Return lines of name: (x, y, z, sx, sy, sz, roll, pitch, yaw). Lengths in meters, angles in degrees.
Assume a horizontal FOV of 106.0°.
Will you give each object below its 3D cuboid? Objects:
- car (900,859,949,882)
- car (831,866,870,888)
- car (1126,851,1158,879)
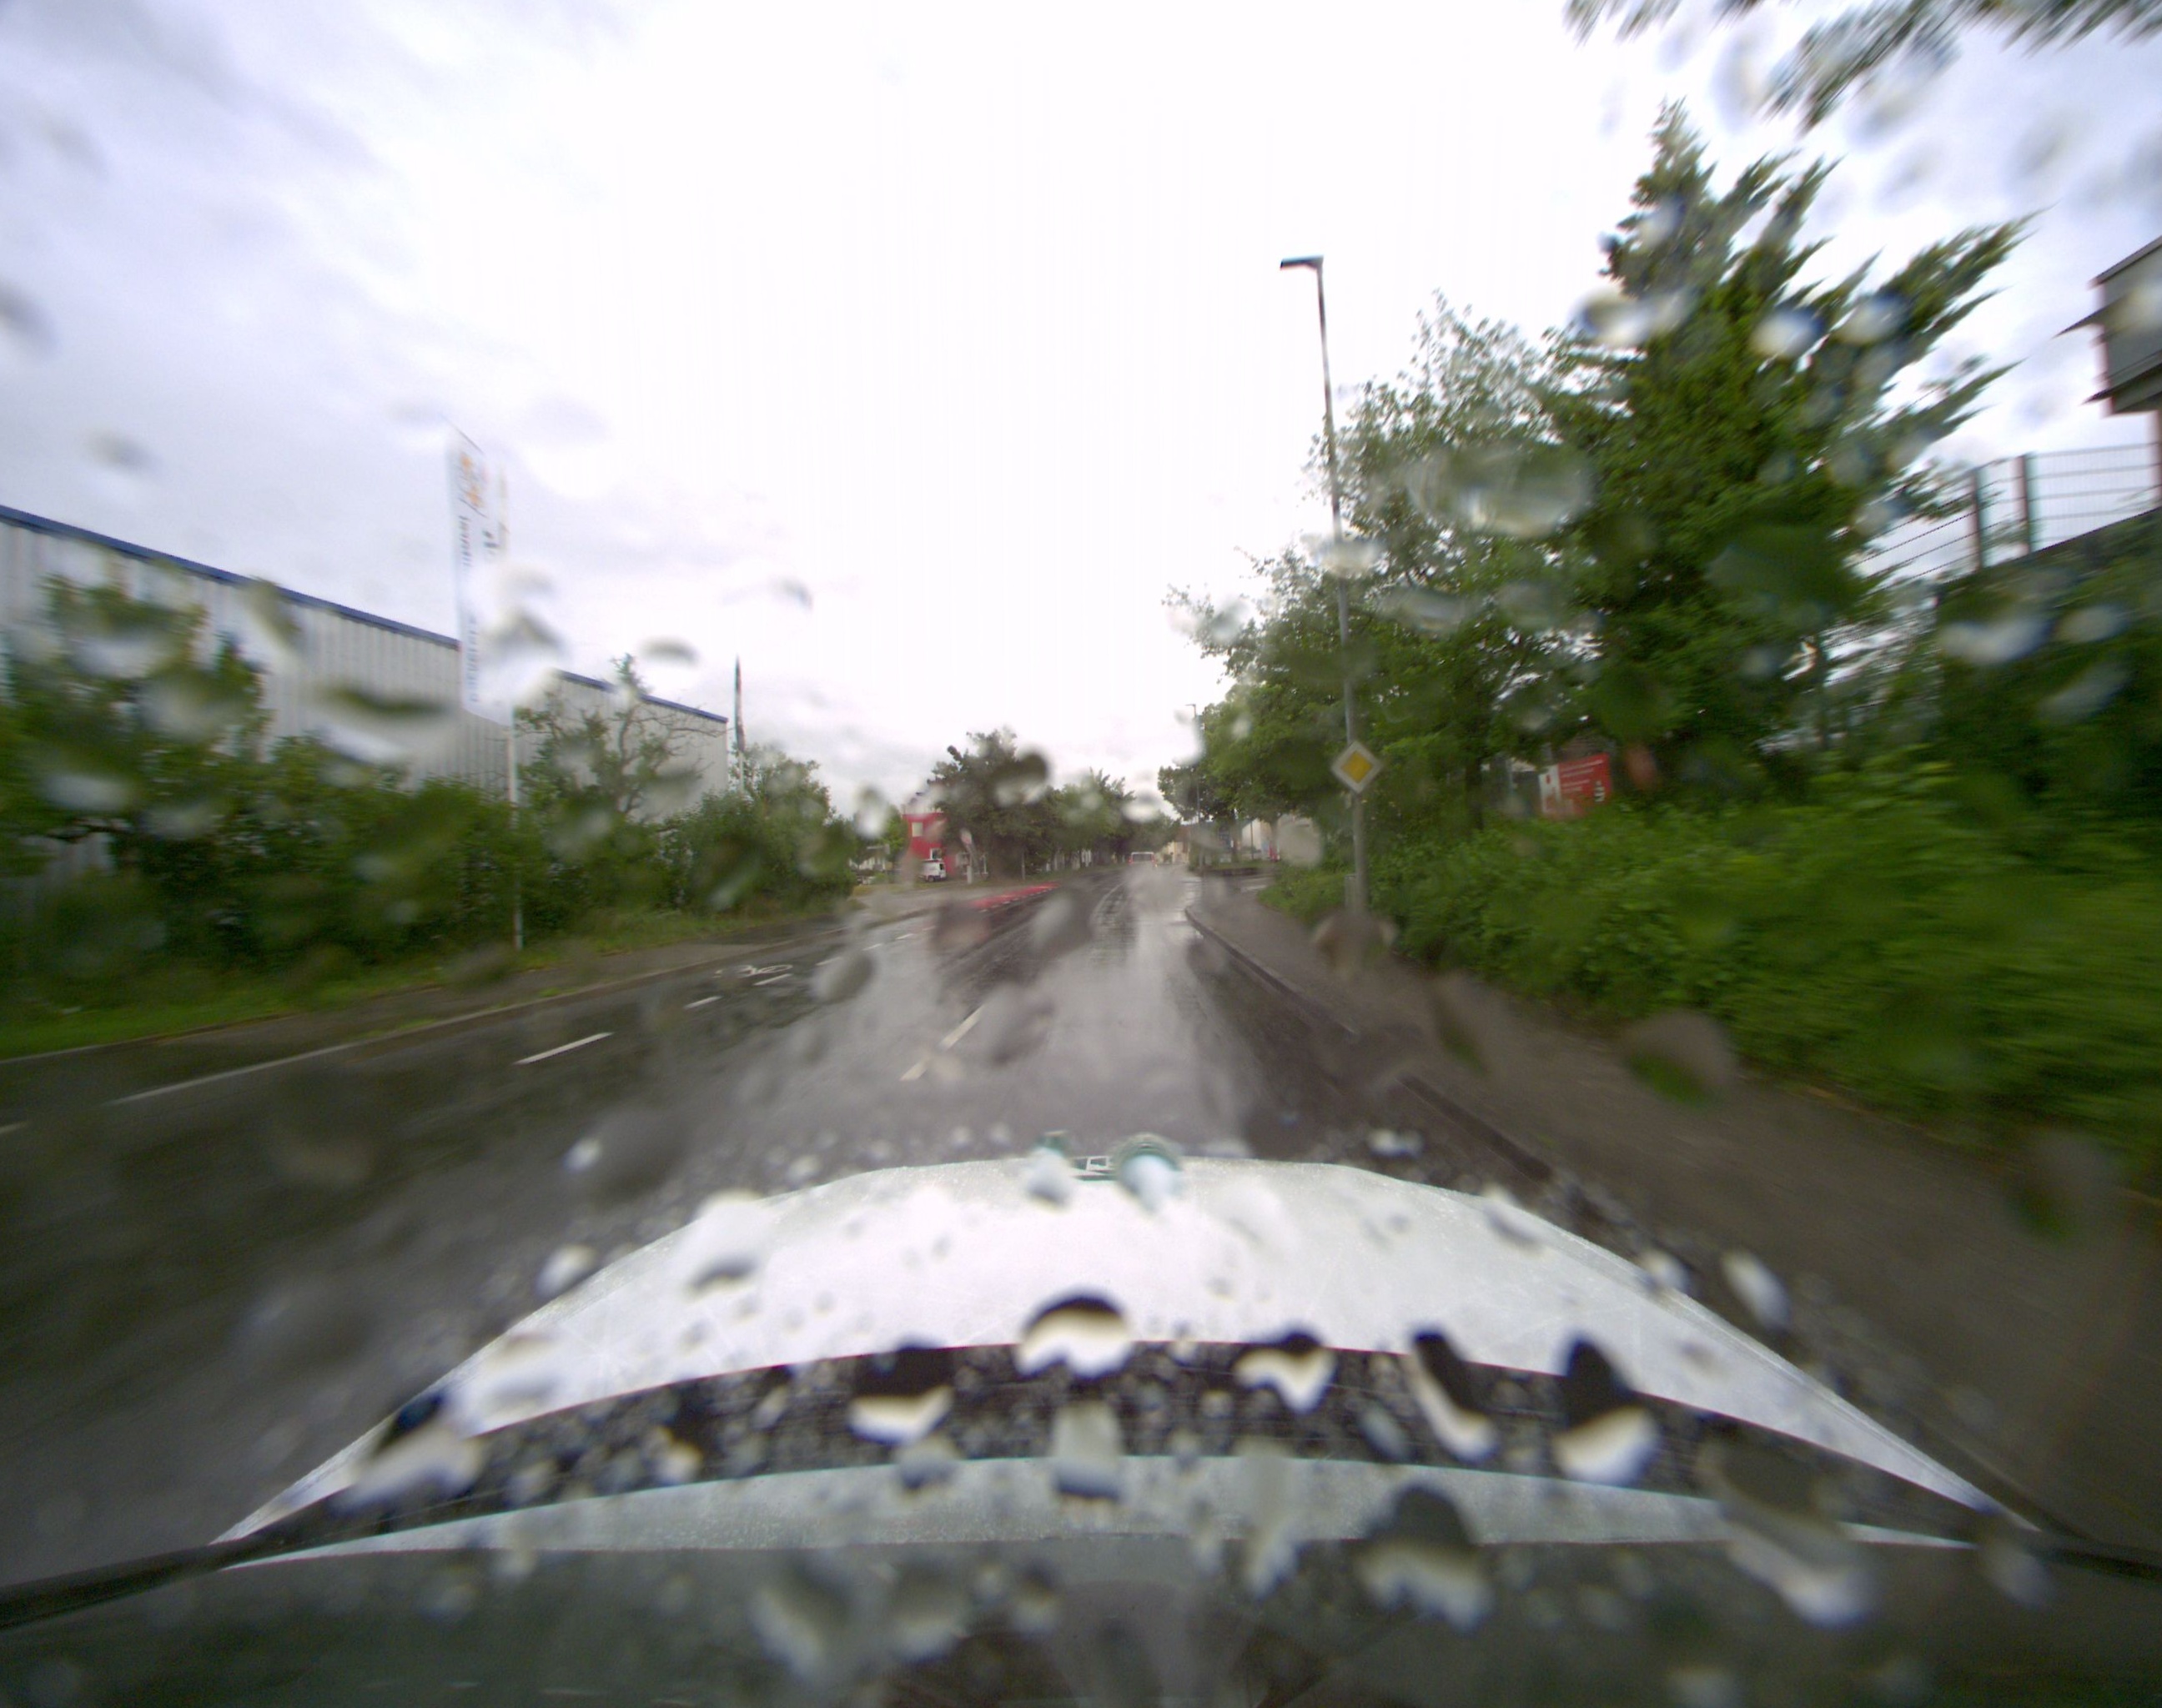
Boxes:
car: (-16.192, 1.698, 84.224, 4.449, 2.310, 2.191, -1, 0, 10)
car: (-18.347, 1.791, 65.019, 2.110, 1.556, 4.161, -1, 0, -4)
car: (4.338, 0.755, 58.820, 2.109, 1.888, 4.504, -1, 0, 2)
